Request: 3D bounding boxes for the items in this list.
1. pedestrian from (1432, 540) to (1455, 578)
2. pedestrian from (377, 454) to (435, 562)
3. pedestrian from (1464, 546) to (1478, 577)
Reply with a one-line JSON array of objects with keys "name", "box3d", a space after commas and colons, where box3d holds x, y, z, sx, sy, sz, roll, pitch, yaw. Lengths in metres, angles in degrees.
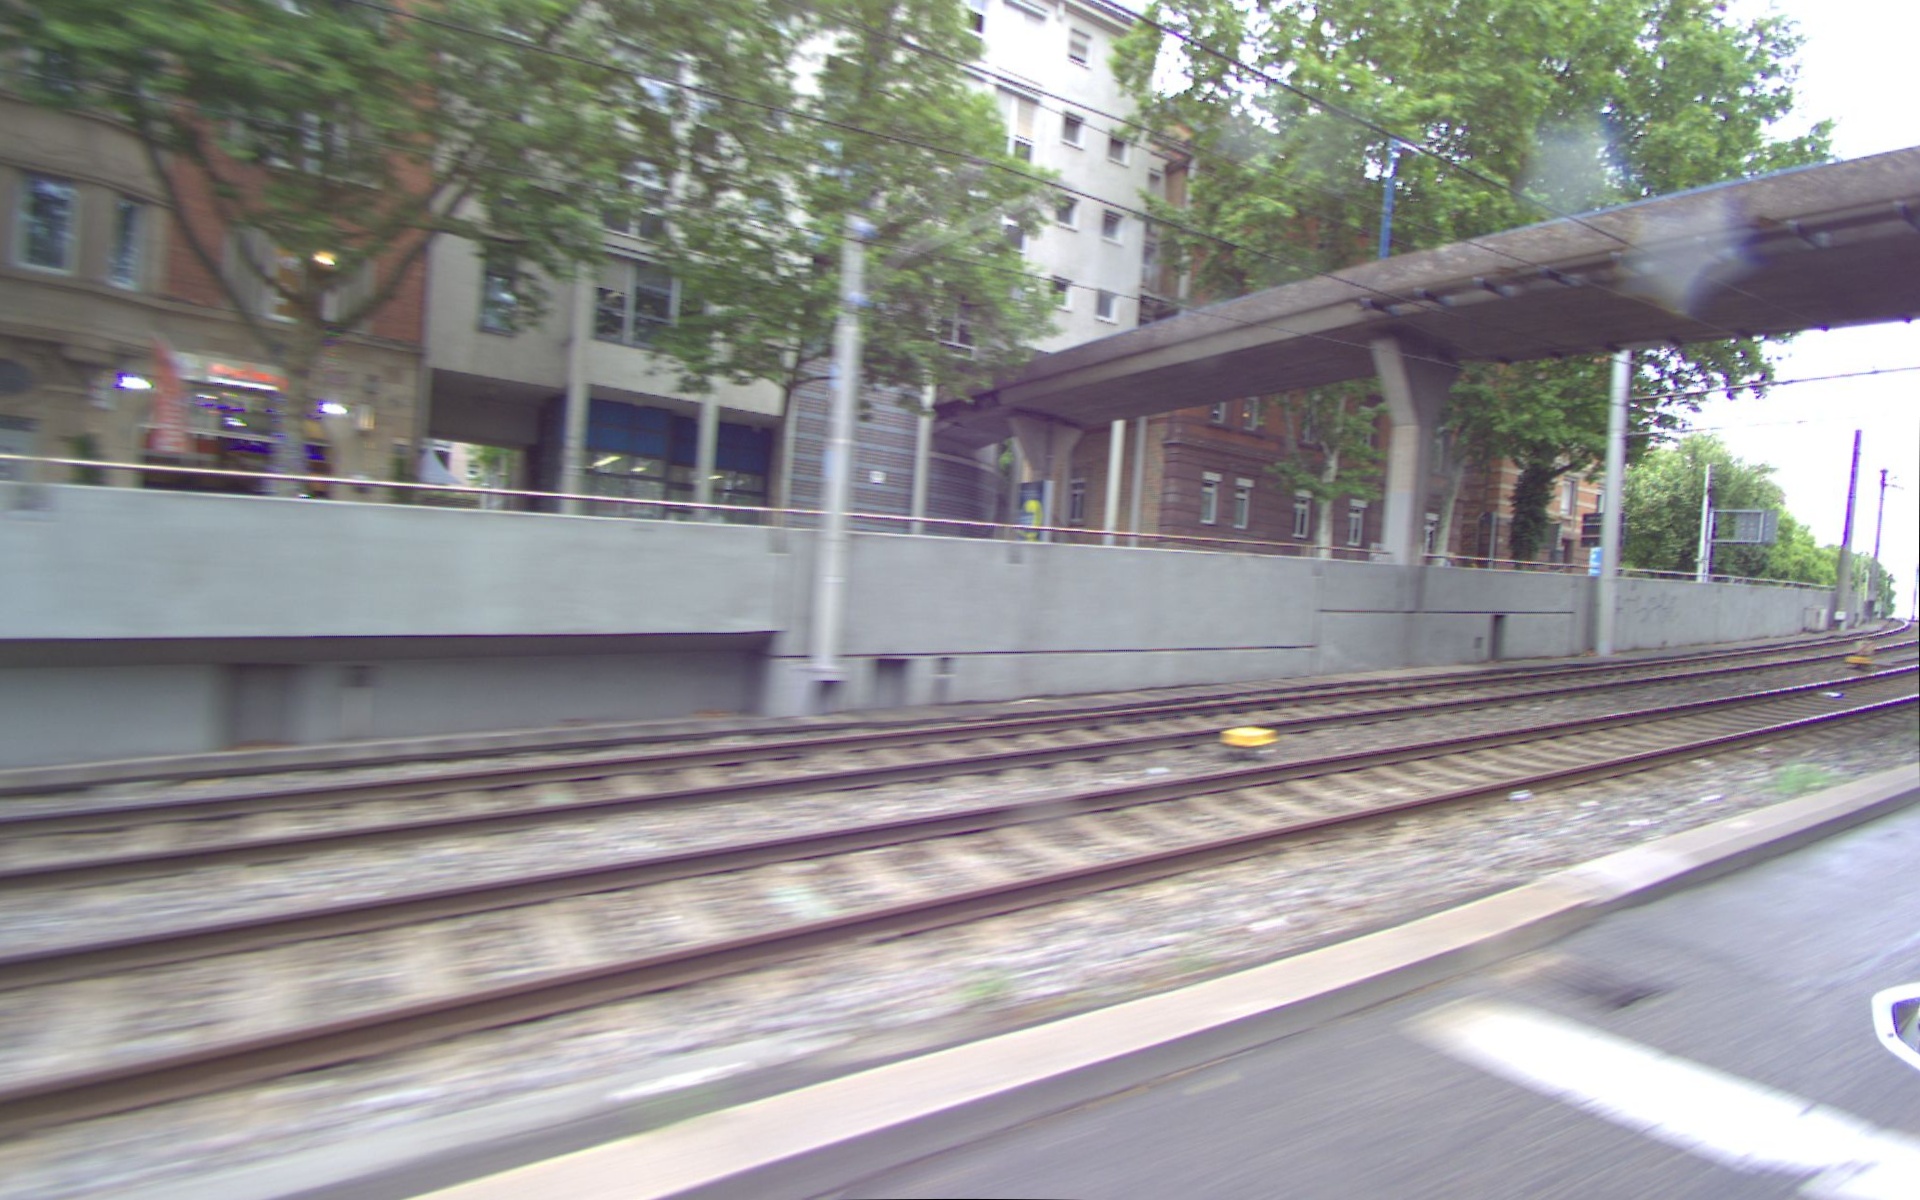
[{"name": "pedestrian", "box3d": [20.990, -1.765, 43.608, 0.713, 1.646, 0.591, 0, 1, -26]}, {"name": "pedestrian", "box3d": [-11.050, -1.817, 20.038, 0.924, 2.041, 0.665, 2, 4, -30]}, {"name": "pedestrian", "box3d": [21.981, -1.652, 43.205, 0.500, 1.352, 0.331, -1, 1, -40]}]
